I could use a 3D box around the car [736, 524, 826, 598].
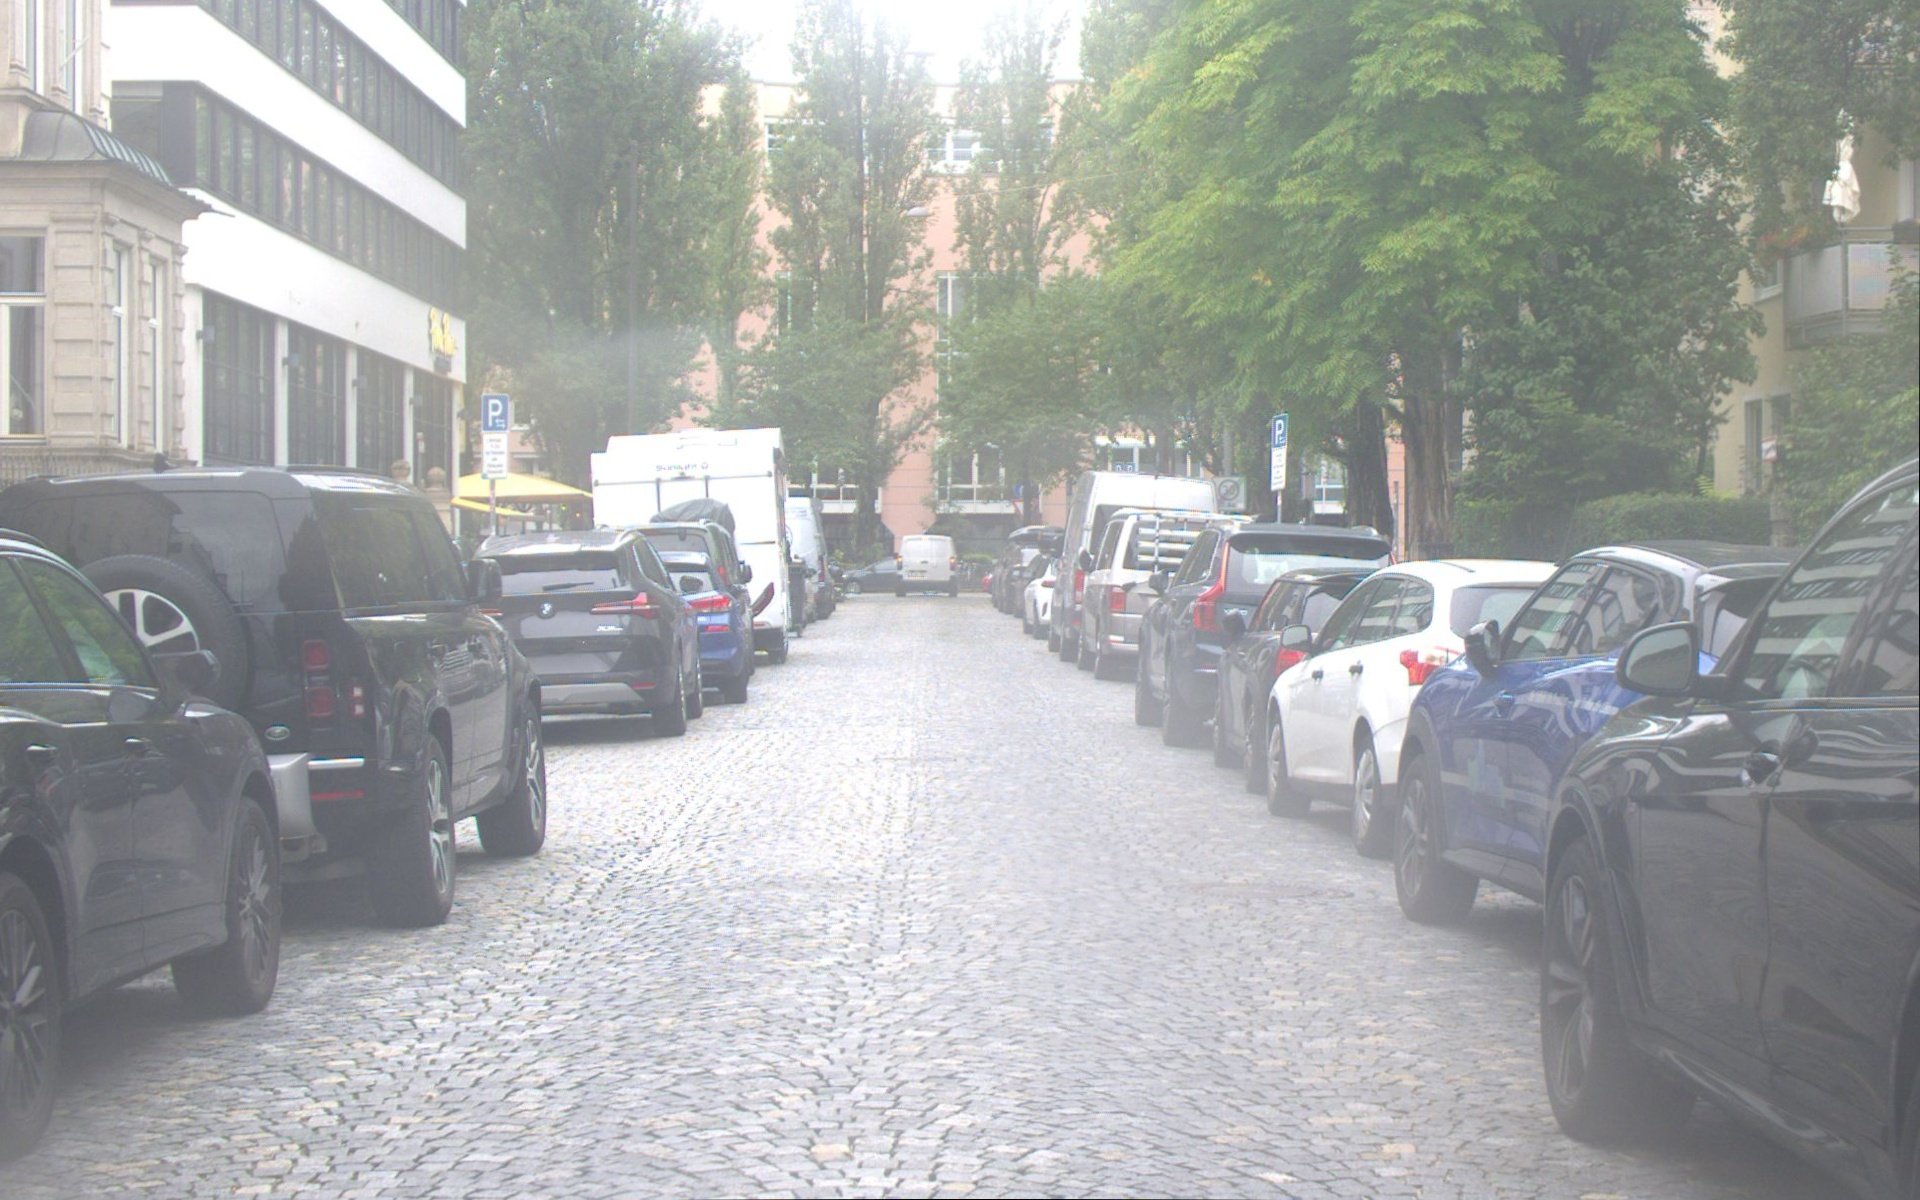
[{"bbox_3d":[-3.595,-0.784,69.595,1.662,1.450,3.548,1,0,-1],"label":"car"}]

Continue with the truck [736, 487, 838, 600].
[{"bbox_3d":[-3.677,-1.192,73.663,1.993,2.338,4.068,0,0,-1],"label":"truck"}]

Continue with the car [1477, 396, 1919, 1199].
[{"bbox_3d":[2.487,0.491,7.227,1.875,1.667,5.491,0,0,-1],"label":"car"}]

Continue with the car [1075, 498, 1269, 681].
[{"bbox_3d":[2.435,-0.144,40.595,1.800,1.943,4.860,3,0,-1],"label":"car"}]

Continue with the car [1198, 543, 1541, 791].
[{"bbox_3d":[2.623,0.387,22.851,1.683,1.448,3.966,2,1,-1],"label":"car"}]

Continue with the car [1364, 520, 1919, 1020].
[{"bbox_3d":[2.715,0.511,12.555,1.708,1.477,4.250,3,0,-3],"label":"car"}]

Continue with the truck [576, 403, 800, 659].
[{"bbox_3d":[-3.451,-0.911,44.934,2.508,3.021,6.385,-2,1,-2],"label":"truck"}]

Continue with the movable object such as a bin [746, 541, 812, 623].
[{"bbox_3d":[-3.078,-0.309,58.617,1.064,1.359,1.289,0,0,-1],"label":"movable object such as a bin"}]

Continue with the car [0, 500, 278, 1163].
[{"bbox_3d":[-3.107,0.566,9.575,1.579,1.584,4.056,-2,0,0],"label":"car"}]

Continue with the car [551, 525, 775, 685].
[{"bbox_3d":[-2.847,0.029,33.688,1.940,1.454,4.058,0,0,-2],"label":"car"}]

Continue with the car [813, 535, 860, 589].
[{"bbox_3d":[-3.578,-1.099,99.701,1.276,1.536,3.119,0,0,-1],"label":"car"}]

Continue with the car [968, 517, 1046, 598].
[{"bbox_3d":[1.165,-1.054,85.315,1.868,1.954,4.000,0,0,1],"label":"car"}]

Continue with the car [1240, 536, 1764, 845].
[{"bbox_3d":[2.702,0.404,18.176,1.773,1.424,4.392,0,0,-4],"label":"car"}]

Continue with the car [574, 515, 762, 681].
[{"bbox_3d":[-3.238,-0.061,38.788,1.894,1.745,4.168,-1,1,-2],"label":"car"}]

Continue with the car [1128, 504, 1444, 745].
[{"bbox_3d":[2.514,0.162,27.709,1.963,1.753,4.954,0,0,-1],"label":"car"}]

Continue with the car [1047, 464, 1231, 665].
[{"bbox_3d":[2.327,-0.519,46.147,1.895,2.418,5.612,4,1,-1],"label":"car"}]

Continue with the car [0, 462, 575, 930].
[{"bbox_3d":[-2.975,0.304,15.171,1.982,1.731,4.722,0,1,0],"label":"car"}]

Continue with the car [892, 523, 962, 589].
[{"bbox_3d":[-0.962,-1.302,102.107,1.996,1.929,4.000,0,0,1],"label":"car"}]

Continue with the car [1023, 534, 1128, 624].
[{"bbox_3d":[1.945,-0.358,58.784,1.599,1.481,3.479,0,0,-1],"label":"car"}]

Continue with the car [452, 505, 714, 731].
[{"bbox_3d":[-3.025,0.118,28.355,1.773,1.712,4.391,0,0,-1],"label":"car"}]
